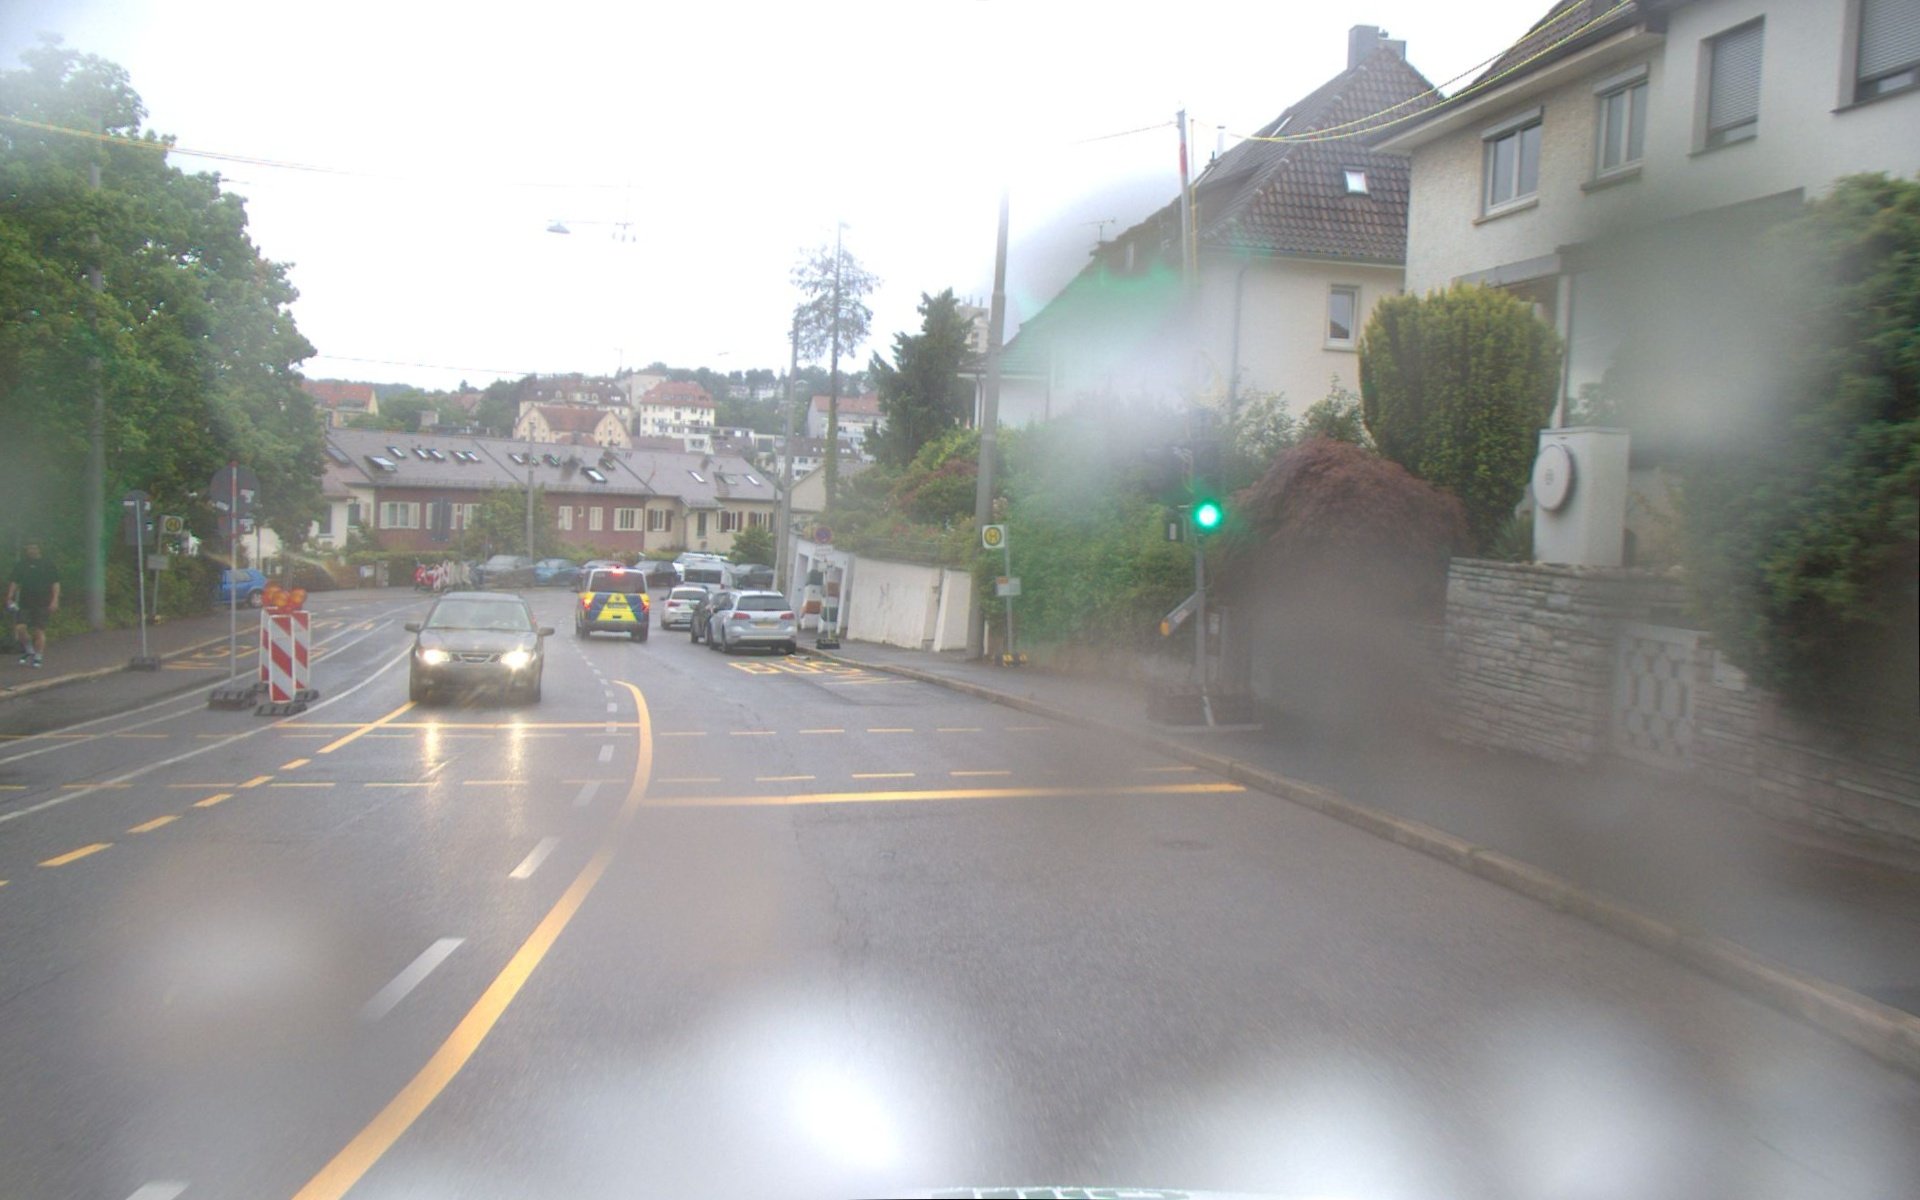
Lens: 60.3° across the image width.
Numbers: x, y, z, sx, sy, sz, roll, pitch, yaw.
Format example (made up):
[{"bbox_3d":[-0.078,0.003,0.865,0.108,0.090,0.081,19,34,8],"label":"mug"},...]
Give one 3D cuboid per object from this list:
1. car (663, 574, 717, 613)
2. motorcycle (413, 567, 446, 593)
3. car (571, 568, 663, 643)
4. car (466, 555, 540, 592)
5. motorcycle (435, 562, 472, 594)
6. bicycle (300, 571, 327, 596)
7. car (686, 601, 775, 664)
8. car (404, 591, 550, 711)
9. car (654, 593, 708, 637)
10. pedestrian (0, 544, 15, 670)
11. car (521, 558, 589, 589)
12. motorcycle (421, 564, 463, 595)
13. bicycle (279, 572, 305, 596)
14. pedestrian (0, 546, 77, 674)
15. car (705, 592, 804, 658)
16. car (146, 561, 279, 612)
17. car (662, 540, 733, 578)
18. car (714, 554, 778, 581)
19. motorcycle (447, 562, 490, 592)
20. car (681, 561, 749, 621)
[{"bbox_3d":[-11.435,-0.299,70.235,1.718,1.521,4.182,2,1,-3],"label":"car"},{"bbox_3d":[-24.030,-0.914,74.885,0.498,1.159,1.924,2,2,13],"label":"motorcycle"},{"bbox_3d":[-9.755,0.143,46.797,2.271,1.973,4.307,-1,0,-15],"label":"car"},{"bbox_3d":[-22.930,-1.355,83.169,1.881,1.603,4.392,5,3,8],"label":"car"},{"bbox_3d":[-23.732,-1.038,77.527,1.772,1.325,0.611,7,3,35],"label":"motorcycle"},{"bbox_3d":[-29.080,-0.746,74.436,1.273,1.053,0.305,-1,-2,23],"label":"bicycle"},{"bbox_3d":[-6.238,0.845,44.673,1.688,1.539,3.979,1,1,-19],"label":"car"},{"bbox_3d":[-6.797,0.646,23.671,1.669,1.486,4.669,0,1,-12],"label":"car"},{"bbox_3d":[-9.819,0.506,58.035,1.675,1.439,4.029,1,1,-12],"label":"car"},{"bbox_3d":[-14.499,0.095,24.390,0.669,1.848,1.150,2,1,-16],"label":"pedestrian"},{"bbox_3d":[-21.619,-1.423,88.450,1.664,1.428,4.477,6,3,12],"label":"car"},{"bbox_3d":[-23.968,-0.969,76.520,1.764,1.301,0.511,4,2,6],"label":"motorcycle"},{"bbox_3d":[-30.314,-0.715,75.055,1.297,1.053,0.305,-1,-3,25],"label":"bicycle"},{"bbox_3d":[-13.727,0.131,24.656,0.696,1.848,1.142,2,1,-16],"label":"pedestrian"},{"bbox_3d":[-5.016,0.561,39.947,1.752,1.445,4.412,0,1,-16],"label":"car"},{"bbox_3d":[-26.623,-0.463,59.007,1.807,1.695,3.923,1,-1,38],"label":"car"},{"bbox_3d":[-16.520,-2.569,104.512,1.812,2.114,5.017,6,2,25],"label":"car"},{"bbox_3d":[-14.168,-2.143,109.781,1.775,1.501,4.515,6,3,28],"label":"car"},{"bbox_3d":[-23.512,-1.084,79.131,1.876,1.292,0.571,4,2,-25],"label":"motorcycle"},{"bbox_3d":[-11.184,-0.446,75.841,2.055,2.586,5.621,2,1,2],"label":"car"}]
